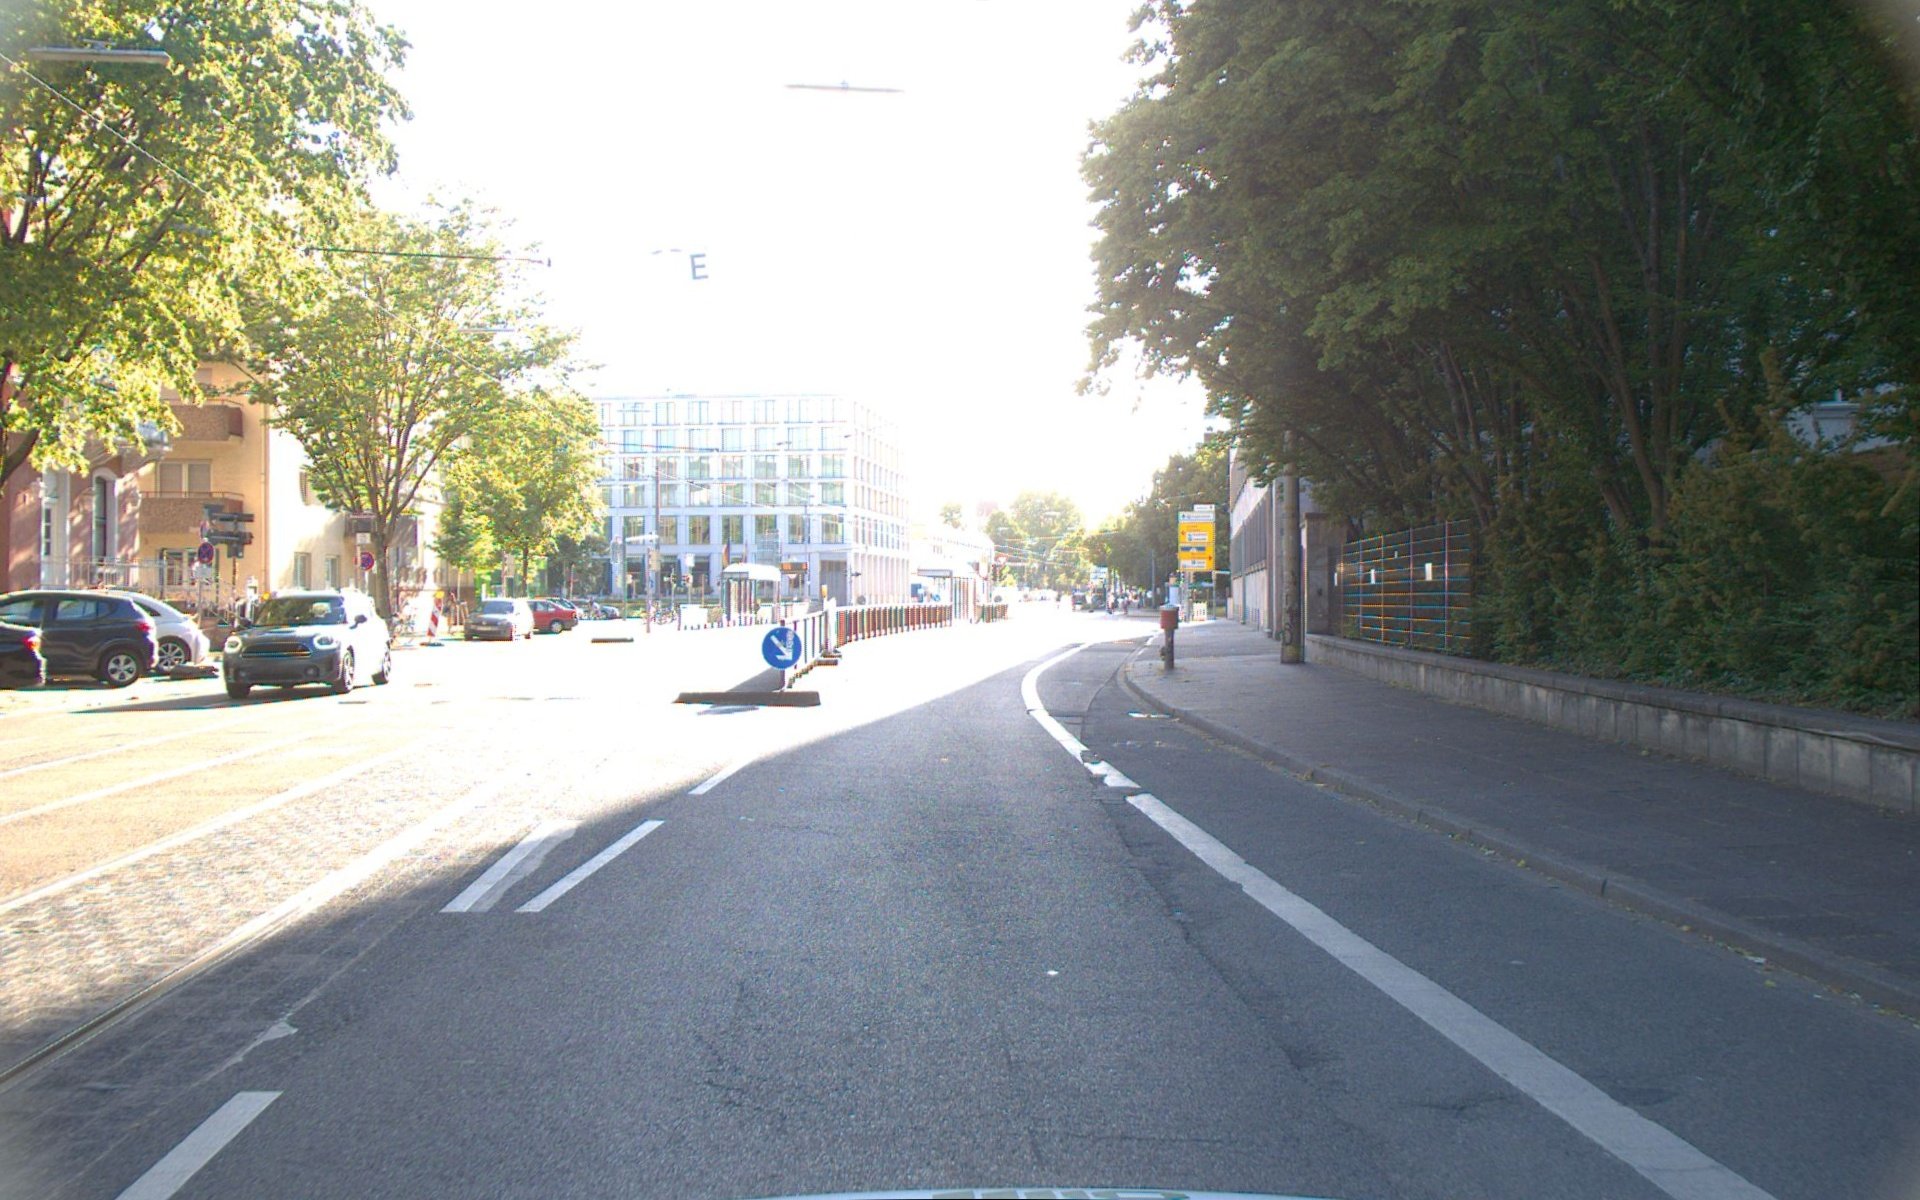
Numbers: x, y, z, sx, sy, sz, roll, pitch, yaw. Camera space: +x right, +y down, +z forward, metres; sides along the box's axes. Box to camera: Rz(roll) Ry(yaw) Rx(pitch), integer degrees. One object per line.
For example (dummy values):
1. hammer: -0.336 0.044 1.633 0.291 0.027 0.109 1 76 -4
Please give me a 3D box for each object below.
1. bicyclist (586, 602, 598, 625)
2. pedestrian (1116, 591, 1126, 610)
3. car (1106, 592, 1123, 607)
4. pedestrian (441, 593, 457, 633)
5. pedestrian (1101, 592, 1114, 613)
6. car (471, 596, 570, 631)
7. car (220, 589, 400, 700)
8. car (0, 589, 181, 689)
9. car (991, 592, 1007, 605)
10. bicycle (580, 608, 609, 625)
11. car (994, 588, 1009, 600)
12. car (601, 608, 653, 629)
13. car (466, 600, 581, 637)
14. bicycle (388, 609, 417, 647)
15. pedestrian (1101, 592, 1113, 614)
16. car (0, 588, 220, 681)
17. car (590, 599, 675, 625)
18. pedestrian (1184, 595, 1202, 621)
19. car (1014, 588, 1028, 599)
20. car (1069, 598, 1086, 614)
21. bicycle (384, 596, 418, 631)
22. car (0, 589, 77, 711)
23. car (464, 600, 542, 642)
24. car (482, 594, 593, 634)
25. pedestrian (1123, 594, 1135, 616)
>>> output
1. bicyclist: -25.902 0.976 116.535 0.605 1.610 0.594 0 0 14
2. pedestrian: 13.672 0.047 140.519 0.748 1.586 0.587 0 0 -8
3. car: 17.247 -0.063 184.417 1.648 1.527 3.511 2 -1 8
4. pedestrian: -21.609 0.557 69.955 0.500 1.701 0.490 0 0 1
5. pedestrian: 12.329 0.213 138.086 0.948 1.815 0.778 0 0 -8
6. car: -21.439 0.670 80.711 4.443 1.597 1.578 2 -1 -25
7. car: -10.396 0.648 26.793 1.837 1.629 4.417 0 0 -10
8. car: -15.175 0.627 27.328 3.879 1.534 1.668 3 0 -37
9. car: 5.351 -0.187 229.218 1.780 1.742 3.808 0 0 8
10. bicycle: -25.752 1.156 116.536 1.882 1.142 0.791 0 0 14
11. car: 6.077 -0.864 240.237 1.780 1.742 3.808 0 0 8
12. car: -24.674 1.344 122.415 3.455 1.532 1.523 1 0 6
13. car: -18.454 0.797 69.959 4.446 1.450 1.857 2 -1 -27
14. bicycle: -16.971 0.847 50.349 0.258 1.136 1.406 0 0 7
15. pedestrian: 12.476 0.248 140.529 0.832 1.815 0.778 0 0 -8
16. car: -15.847 0.641 30.224 3.883 1.548 1.709 3 0 -42
17. car: -18.560 0.688 93.745 4.443 1.374 1.578 2 -1 -25
18. pedestrian: 15.610 0.521 110.736 1.019 1.751 1.034 0 0 -3
19. car: 9.273 -0.980 251.613 1.780 1.742 3.808 0 0 8
20. car: 13.396 0.665 187.984 1.648 1.768 3.511 2 -1 8
21. bicycle: -23.430 0.561 69.338 0.703 1.422 3.006 0 0 -6
22. car: -14.430 0.637 22.533 3.949 1.645 1.611 3 -1 -41
23. car: -16.578 0.733 60.195 1.671 1.435 4.291 2 0 -1
24. car: -18.535 0.624 72.627 4.468 1.670 1.569 2 -1 -38
25. pedestrian: 14.165 0.400 138.907 0.832 1.815 0.778 0 0 -8
